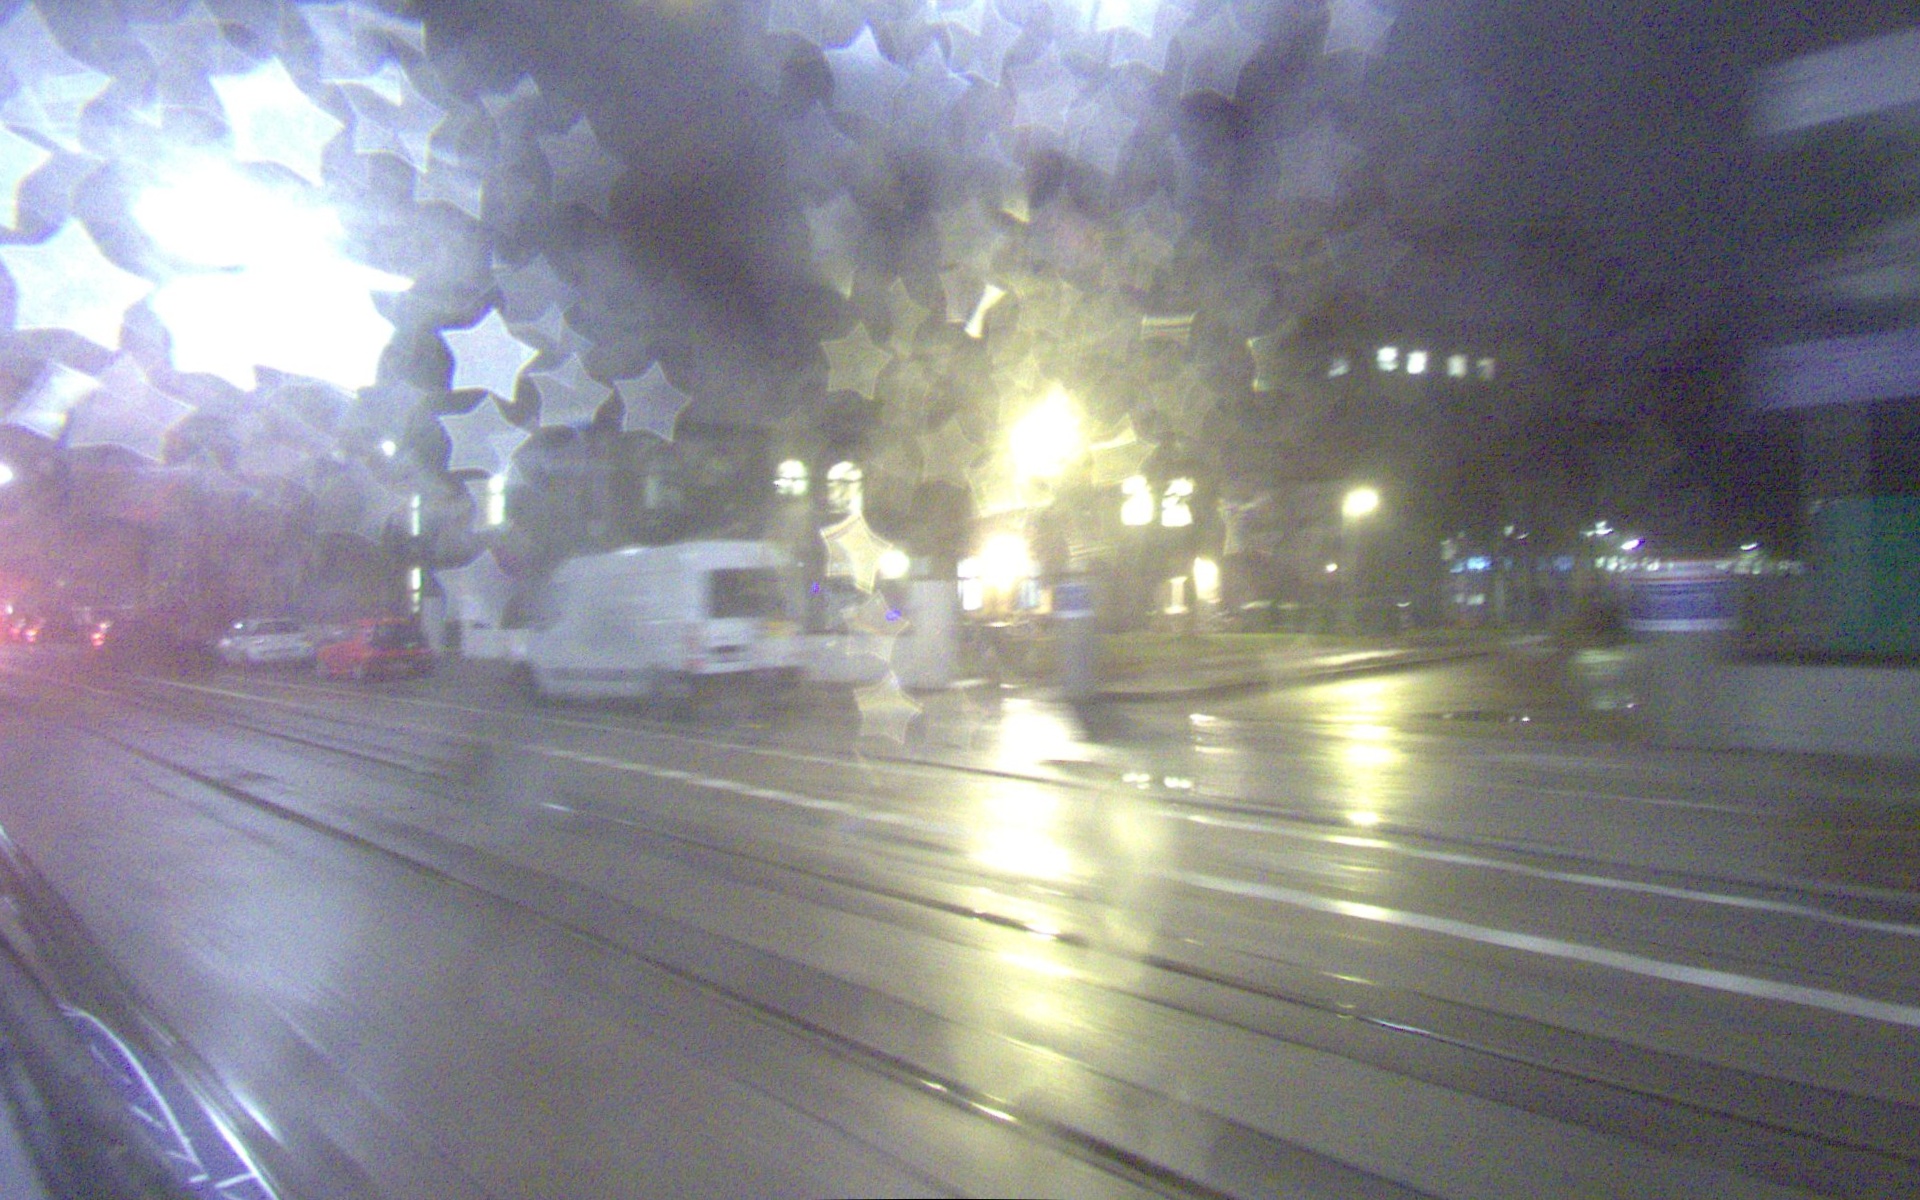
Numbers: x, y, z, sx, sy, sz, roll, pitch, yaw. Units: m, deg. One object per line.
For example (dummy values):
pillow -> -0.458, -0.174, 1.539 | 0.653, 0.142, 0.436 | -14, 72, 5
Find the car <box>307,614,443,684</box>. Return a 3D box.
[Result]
car -> -13.805, 1.088, 23.823 | 3.388, 1.418, 1.698 | 0, 2, 40

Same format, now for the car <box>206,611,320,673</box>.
car -> -20.314, 1.167, 29.459 | 3.661, 1.593, 1.823 | 0, 2, 40

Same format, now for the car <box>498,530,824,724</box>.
car -> -4.778, 0.318, 15.742 | 5.254, 2.527, 2.220 | 0, 2, 39

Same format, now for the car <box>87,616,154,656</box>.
car -> -36.008, 1.497, 43.378 | 3.917, 1.586, 1.671 | 0, 0, 42
